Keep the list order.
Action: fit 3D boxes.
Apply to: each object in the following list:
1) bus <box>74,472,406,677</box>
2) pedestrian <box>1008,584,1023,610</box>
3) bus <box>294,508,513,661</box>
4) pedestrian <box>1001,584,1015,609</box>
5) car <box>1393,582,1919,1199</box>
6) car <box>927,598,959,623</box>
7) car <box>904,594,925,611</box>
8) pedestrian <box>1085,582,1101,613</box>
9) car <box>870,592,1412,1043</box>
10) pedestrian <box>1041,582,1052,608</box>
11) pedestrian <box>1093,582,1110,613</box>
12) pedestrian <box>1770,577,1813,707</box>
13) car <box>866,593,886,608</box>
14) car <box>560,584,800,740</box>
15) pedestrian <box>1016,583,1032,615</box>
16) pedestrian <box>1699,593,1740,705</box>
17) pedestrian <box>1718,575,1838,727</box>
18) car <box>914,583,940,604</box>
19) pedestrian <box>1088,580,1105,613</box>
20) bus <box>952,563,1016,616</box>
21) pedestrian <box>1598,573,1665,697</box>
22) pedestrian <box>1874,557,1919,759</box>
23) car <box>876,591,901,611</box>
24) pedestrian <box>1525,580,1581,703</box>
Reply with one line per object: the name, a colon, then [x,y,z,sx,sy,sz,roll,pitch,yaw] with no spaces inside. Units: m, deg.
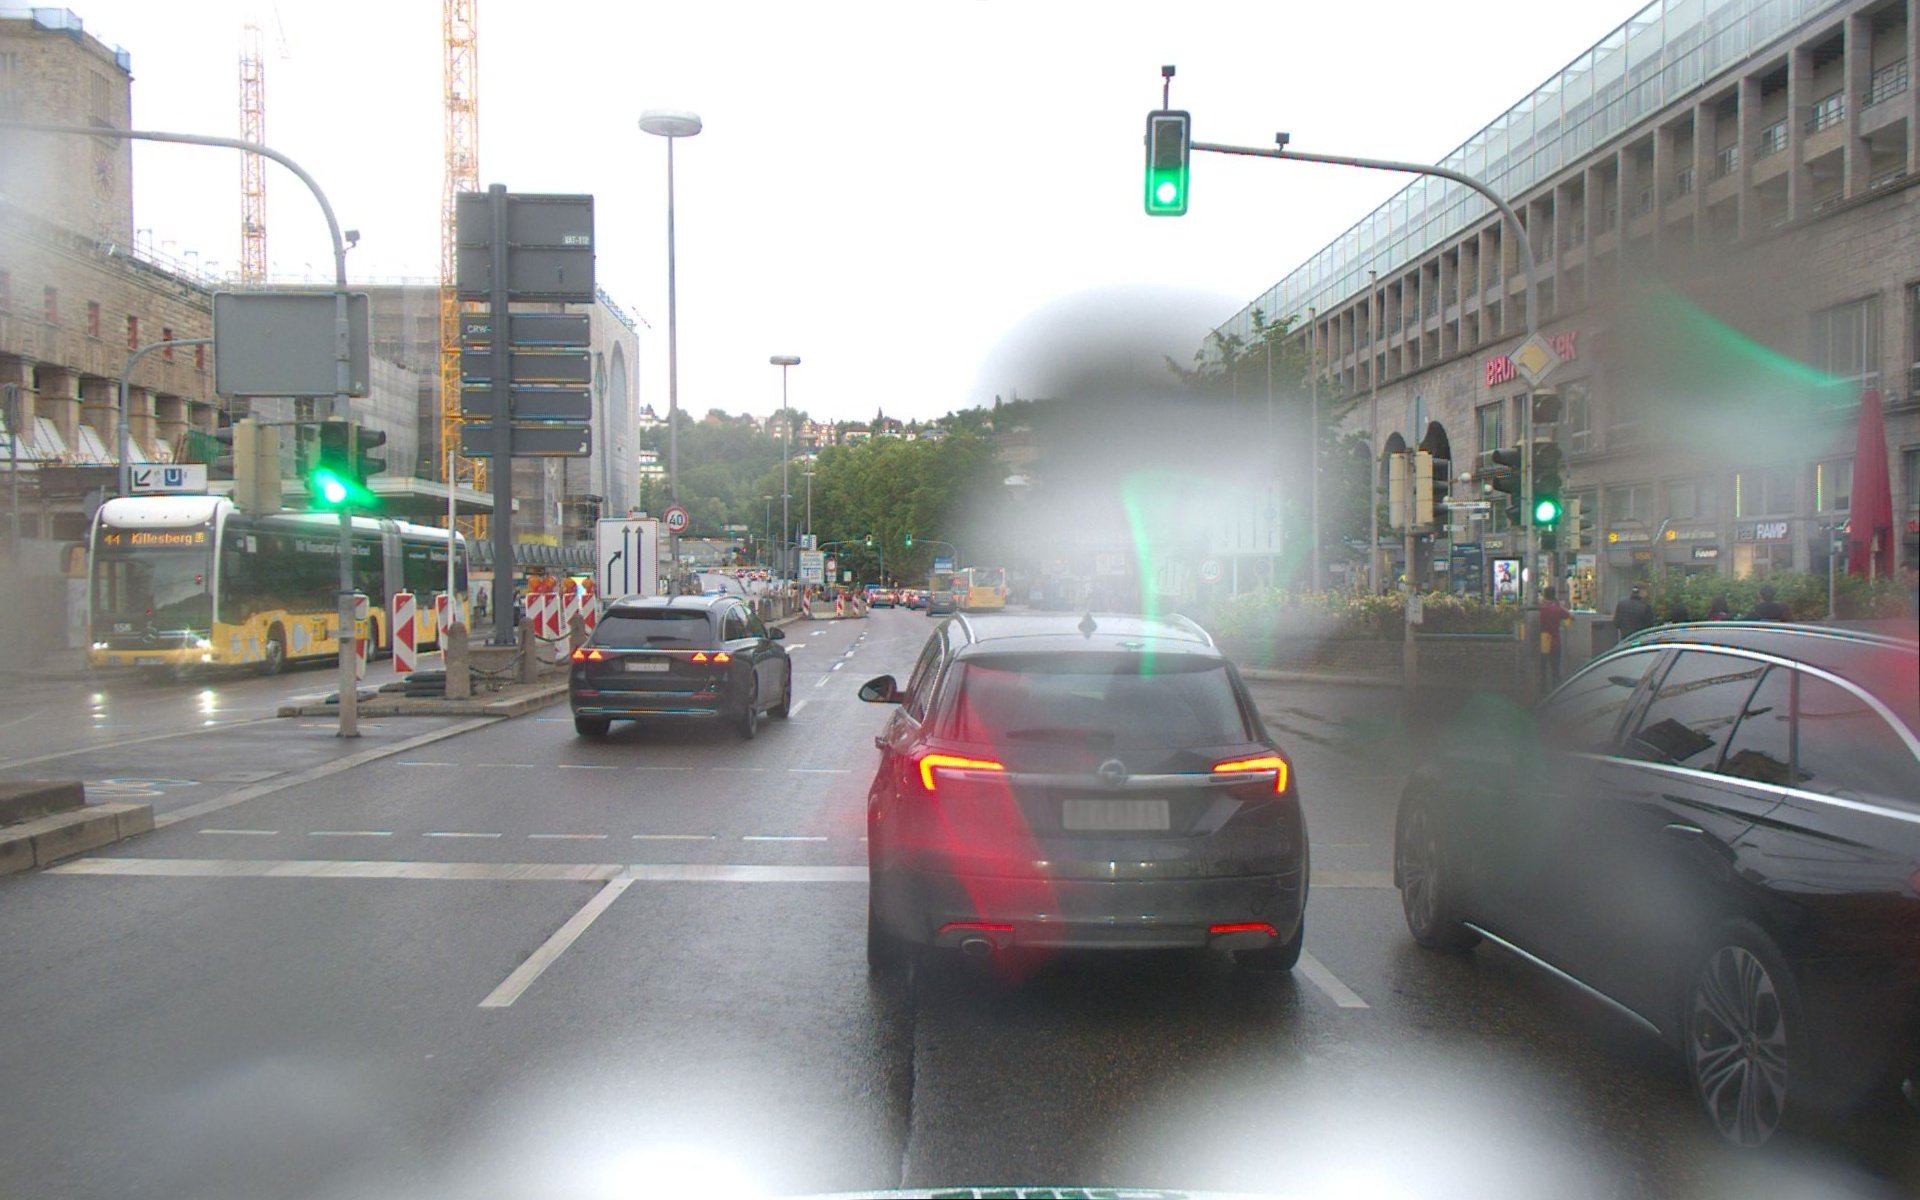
bus: [-14.752,-0.417,35.088,2.614,3.665,10.236,1,-1,-1]
pedestrian: [4.742,-0.248,141.250,1.174,2.186,1.228,1,-1,0]
bus: [-14.922,-0.332,45.368,2.614,3.665,10.209,1,-1,-1]
pedestrian: [4.389,-0.322,151.978,1.174,2.186,1.228,1,-1,0]
car: [3.010,0.755,5.605,1.757,1.528,4.627,1,-1,-1]
car: [-1.021,0.624,96.448,1.808,1.422,3.666,1,-1,-1]
car: [-4.002,0.250,145.124,1.808,1.422,3.563,1,0,-1]
pedestrian: [7.559,-0.155,93.877,0.748,1.720,0.824,1,-1,-5]
car: [0.580,0.764,7.657,1.837,1.512,3.999,1,-1,-1]
pedestrian: [5.652,-0.332,107.872,0.644,1.720,0.609,1,-1,0]
pedestrian: [7.929,-0.158,92.728,0.748,1.720,0.824,1,-1,-5]
pedestrian: [11.568,0.575,23.014,0.472,1.782,0.665,-2,-1,27]
car: [-7.944,0.064,156.811,1.723,1.422,3.563,1,-1,-1]
car: [-2.972,0.625,18.535,1.817,1.495,4.587,1,-1,1]
pedestrian: [4.934,-0.083,127.675,1.174,2.478,1.228,1,-1,0]
pedestrian: [10.661,0.686,23.216,0.456,1.544,0.449,1,-1,33]
pedestrian: [9.961,0.613,20.154,1.074,1.782,0.653,-2,-1,-4]
car: [-2.471,-0.451,122.243,1.718,1.422,4.645,1,-1,-3]
pedestrian: [7.229,-0.197,87.885,0.748,1.720,0.824,1,-1,-5]
bus: [1.602,-0.660,119.182,4.089,3.530,14.650,1,-1,-1]
pedestrian: [9.648,0.499,23.773,0.740,1.748,0.466,1,-1,-5]
pedestrian: [8.654,0.514,14.770,0.766,1.787,0.501,0,-1,43]
car: [-5.563,0.086,128.187,1.808,1.422,3.563,1,-1,-1]
pedestrian: [8.787,0.604,24.491,0.560,1.783,0.676,0,-1,42]
